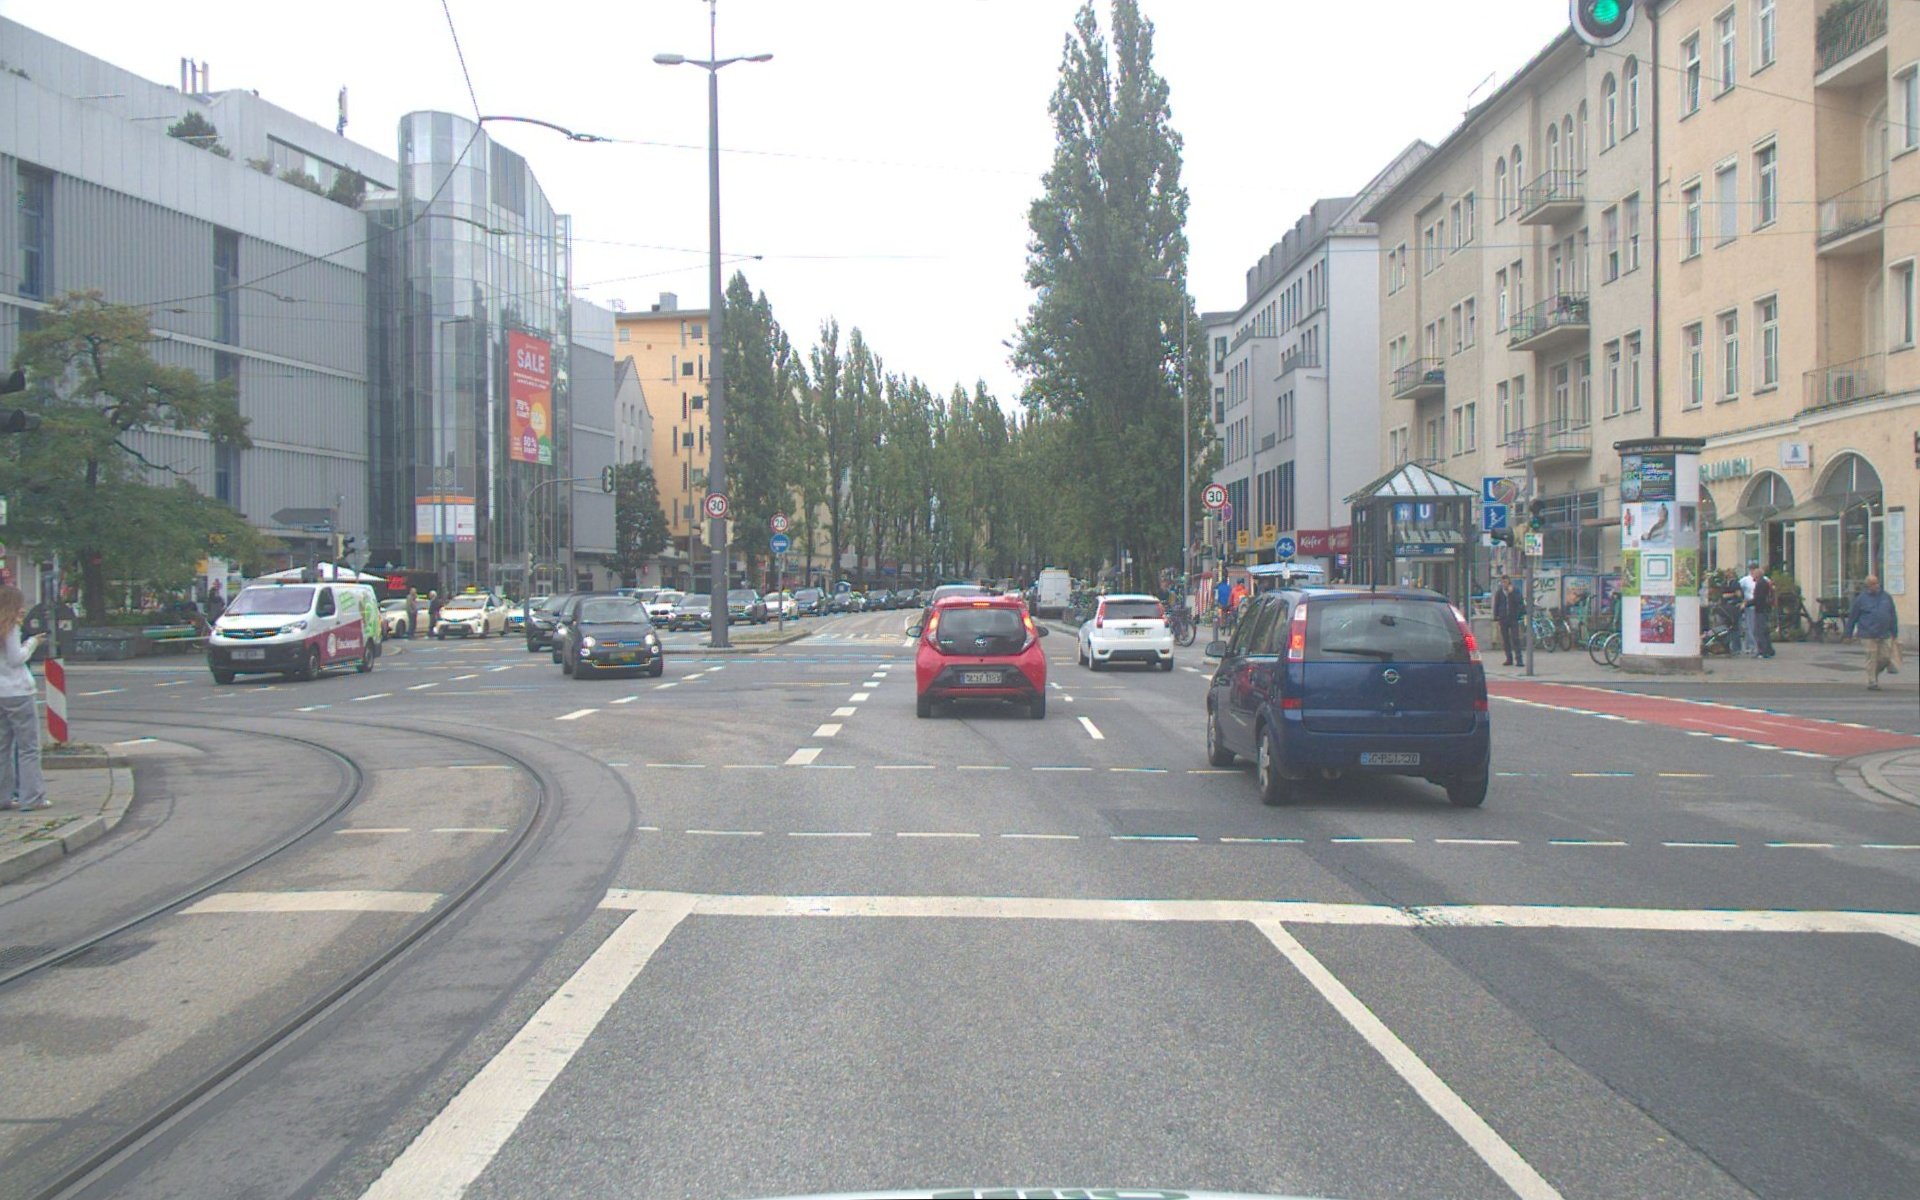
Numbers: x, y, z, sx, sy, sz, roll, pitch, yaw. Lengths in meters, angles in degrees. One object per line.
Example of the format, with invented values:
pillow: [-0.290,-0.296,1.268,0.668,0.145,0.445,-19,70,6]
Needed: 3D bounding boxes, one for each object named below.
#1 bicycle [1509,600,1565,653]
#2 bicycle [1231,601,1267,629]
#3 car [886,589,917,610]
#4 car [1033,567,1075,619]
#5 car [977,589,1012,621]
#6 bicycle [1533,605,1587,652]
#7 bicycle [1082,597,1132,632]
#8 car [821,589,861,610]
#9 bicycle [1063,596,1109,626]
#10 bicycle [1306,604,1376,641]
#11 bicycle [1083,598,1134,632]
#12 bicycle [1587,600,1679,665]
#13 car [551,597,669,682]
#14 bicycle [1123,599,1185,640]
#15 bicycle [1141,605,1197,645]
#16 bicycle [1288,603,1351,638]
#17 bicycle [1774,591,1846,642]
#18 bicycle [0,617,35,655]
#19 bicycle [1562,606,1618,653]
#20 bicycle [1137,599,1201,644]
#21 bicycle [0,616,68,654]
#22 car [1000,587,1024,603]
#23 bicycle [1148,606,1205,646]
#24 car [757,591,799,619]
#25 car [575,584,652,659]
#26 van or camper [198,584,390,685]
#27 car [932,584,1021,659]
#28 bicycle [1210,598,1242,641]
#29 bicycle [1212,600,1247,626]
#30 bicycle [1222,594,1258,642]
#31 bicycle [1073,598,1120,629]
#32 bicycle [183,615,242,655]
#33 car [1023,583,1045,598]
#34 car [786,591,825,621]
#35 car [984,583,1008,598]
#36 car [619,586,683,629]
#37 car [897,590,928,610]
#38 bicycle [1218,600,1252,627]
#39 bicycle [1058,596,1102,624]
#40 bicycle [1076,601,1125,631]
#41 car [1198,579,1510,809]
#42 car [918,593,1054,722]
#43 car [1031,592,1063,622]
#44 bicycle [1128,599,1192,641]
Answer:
bicycle: [12.654,0.569,36.308,0.555,1.127,1.866,-1,0,-1]
bicycle: [10.081,0.522,57.710,1.157,0.980,0.369,-1,0,-2]
car: [-4.725,-0.043,134.001,1.951,1.721,4.924,0,0,5]
car: [5.155,-0.387,91.438,2.063,2.766,4.804,0,0,0]
car: [2.033,0.274,98.067,1.953,1.870,3.999,0,0,-1]
bicycle: [13.145,0.614,36.296,0.484,0.992,1.866,-1,0,-1]
bicycle: [5.240,0.504,59.112,1.805,1.218,0.583,0,0,42]
car: [-8.041,-0.028,112.220,1.805,1.407,4.604,0,0,7]
bicycle: [5.083,0.443,66.938,1.801,1.156,0.584,0,0,36]
bicycle: [10.390,0.612,45.114,1.801,0.981,0.508,-1,0,-2]
bicycle: [5.221,0.526,58.330,1.805,1.188,0.583,0,0,42]
bicycle: [12.928,0.617,31.797,1.536,1.180,0.525,-1,2,2]
car: [-6.664,0.694,31.244,1.525,1.471,3.514,-1,1,-23]
bicycle: [5.620,0.562,47.939,1.770,1.178,0.546,0,0,38]
bicycle: [5.711,0.675,45.204,0.495,1.046,1.576,-1,0,-42]
bicycle: [10.410,0.580,47.919,1.718,0.981,0.453,-1,0,0]
bicycle: [18.893,0.354,36.793,0.485,1.108,1.864,-1,0,-6]
bicycle: [-31.367,1.146,52.733,3.419,1.177,1.061,-1,0,12]
bicycle: [13.810,0.633,36.308,0.484,0.992,1.866,-1,0,-1]
bicycle: [5.784,0.582,45.865,1.773,1.219,0.555,0,0,43]
bicycle: [-31.081,1.147,54.171,3.419,1.177,1.061,-1,0,12]
car: [5.778,-0.558,183.335,1.951,1.721,4.418,-1,0,12]
bicycle: [5.794,0.684,44.350,0.495,1.046,1.576,-1,0,-42]
car: [-9.746,0.236,88.638,1.729,1.446,4.639,0,0,0]
car: [-7.607,0.493,36.464,1.475,1.561,2.831,2,-2,-9]
van or camper: [-13.297,0.634,33.423,1.889,1.858,5.438,0,0,-3]
car: [0.327,0.451,38.456,1.953,1.646,3.999,0,0,-1]
bicycle: [8.456,0.611,52.733,0.601,1.287,2.520,-1,1,0]
bicycle: [10.108,0.484,62.017,1.235,0.980,0.369,-1,0,2]
bicycle: [7.882,0.491,46.638,0.601,1.287,2.520,-1,1,0]
bicycle: [5.200,0.512,63.252,1.805,1.156,0.583,0,0,42]
bicycle: [-21.611,1.002,47.817,1.541,1.131,0.373,0,0,3]
car: [8.808,-1.121,195.998,1.951,1.721,4.418,-1,0,12]
car: [-9.259,0.336,99.427,1.896,1.769,4.588,0,0,0]
car: [4.240,-1.092,193.167,1.951,1.721,4.418,-1,0,12]
car: [-16.234,0.345,87.113,1.952,2.048,5.526,-1,1,4]
car: [-4.053,-0.002,141.843,1.951,1.721,4.924,0,0,6]
bicycle: [10.093,0.485,60.729,1.208,0.980,0.367,-1,0,-23]
bicycle: [5.062,0.428,69.668,1.801,1.156,0.584,0,0,36]
bicycle: [5.143,0.568,60.519,1.805,1.070,0.583,0,0,42]
car: [3.039,0.658,13.460,1.668,1.617,3.556,0,0,0]
car: [0.316,0.674,21.106,1.572,1.487,3.130,2,0,0]
car: [5.107,0.393,97.650,1.668,1.691,3.556,0,0,0]
bicycle: [5.714,0.568,47.257,1.770,1.178,0.546,0,0,38]
